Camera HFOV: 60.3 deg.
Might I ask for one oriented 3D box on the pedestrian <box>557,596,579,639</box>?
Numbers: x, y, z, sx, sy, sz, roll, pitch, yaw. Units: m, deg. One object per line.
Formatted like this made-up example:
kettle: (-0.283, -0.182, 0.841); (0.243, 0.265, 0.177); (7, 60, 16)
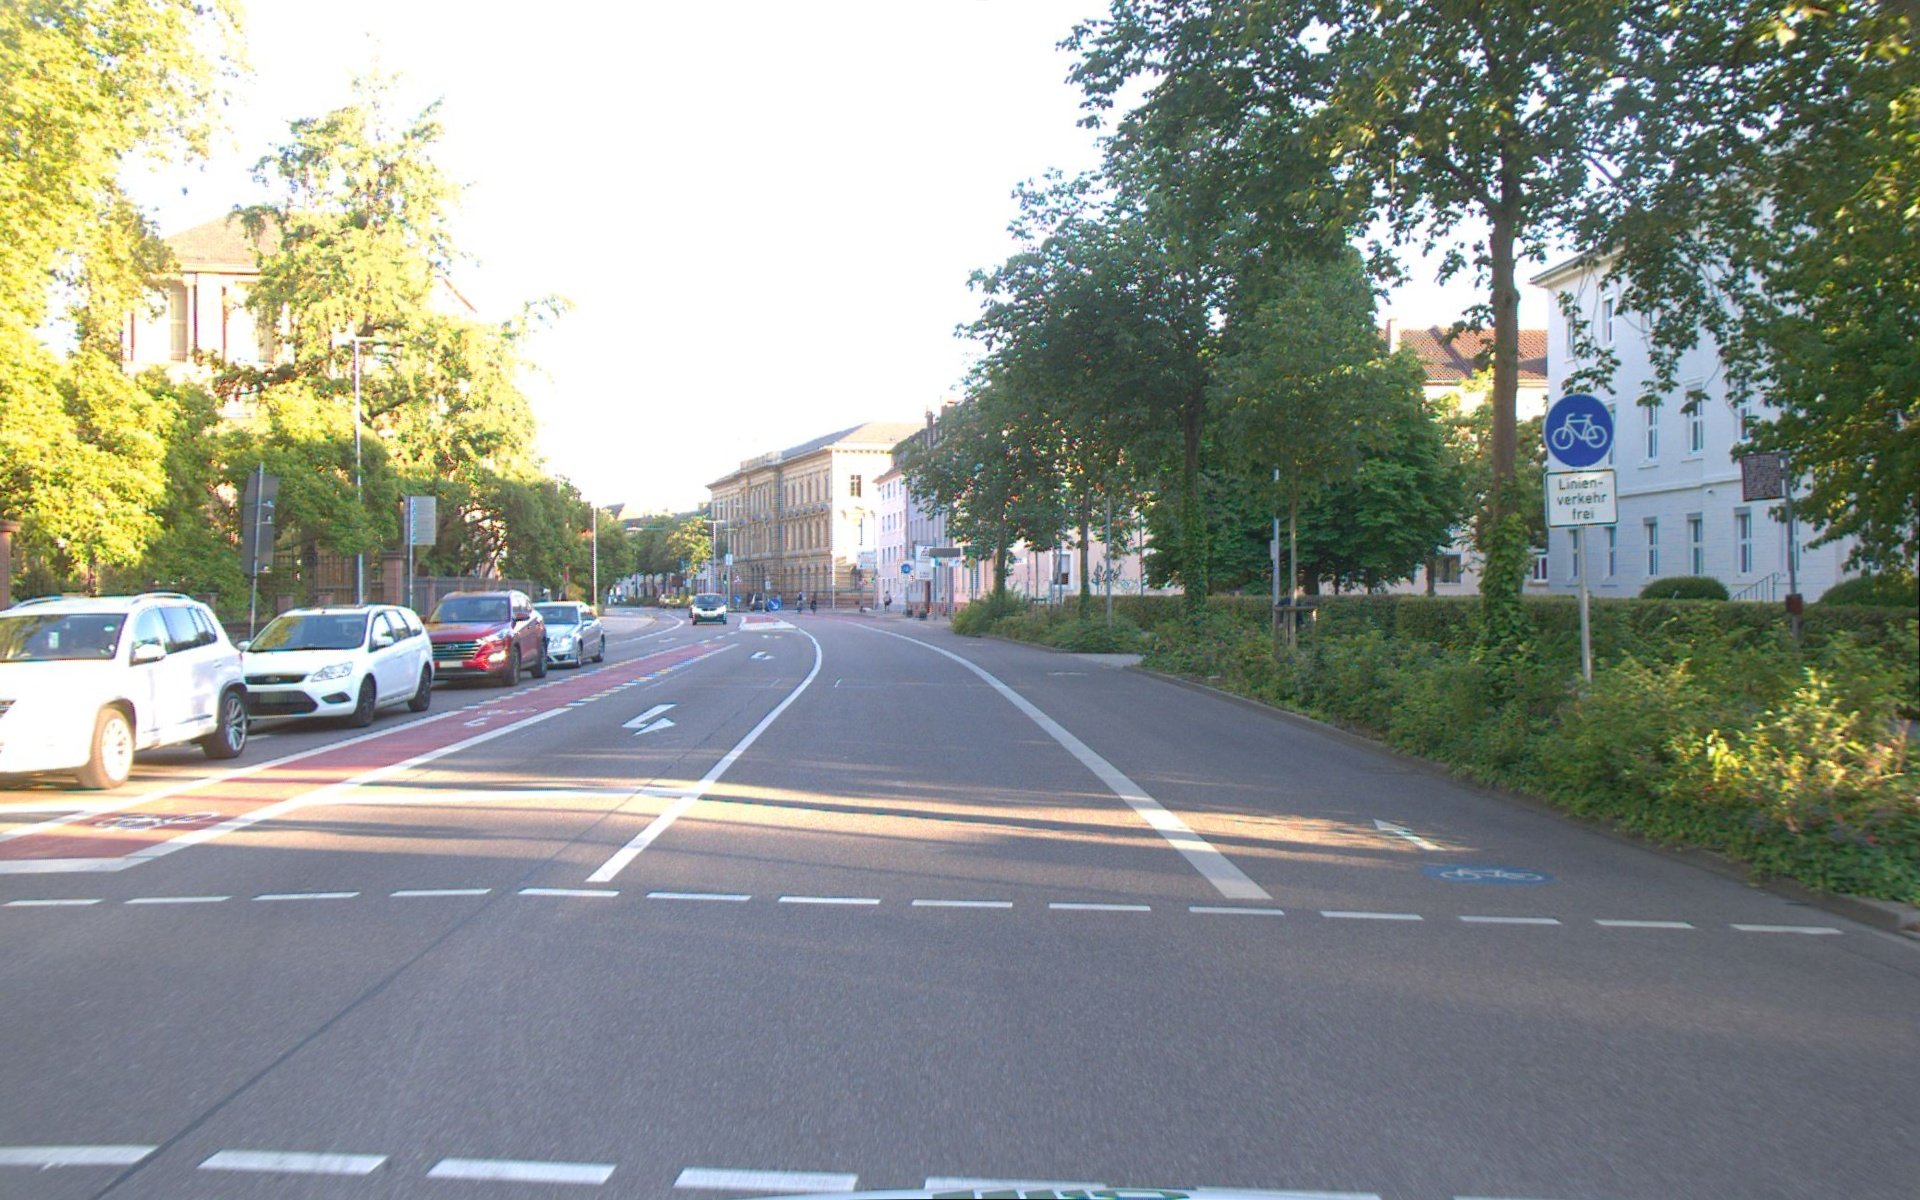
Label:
pedestrian: (-15.503, 0.687, 65.398); (0.666, 1.650, 0.689); (0, 0, 2)

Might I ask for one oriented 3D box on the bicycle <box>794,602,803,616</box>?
bicycle: (-12.930, 0.722, 132.500); (0.639, 1.033, 2.196); (2, 0, -3)

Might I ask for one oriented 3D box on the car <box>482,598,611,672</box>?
car: (-9.105, 0.728, 36.807); (1.878, 1.442, 4.767); (-2, 0, -3)

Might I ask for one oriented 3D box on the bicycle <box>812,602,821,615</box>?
bicycle: (-11.486, 0.690, 132.501); (0.639, 1.033, 2.196); (2, 0, -4)

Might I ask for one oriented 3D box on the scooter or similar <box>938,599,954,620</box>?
scooter or similar: (-0.934, 0.637, 110.226); (0.618, 1.360, 2.392); (0, 0, -13)

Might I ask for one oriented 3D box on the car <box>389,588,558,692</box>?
car: (-8.707, 0.658, 30.010); (1.878, 1.653, 4.636); (-2, 0, -3)

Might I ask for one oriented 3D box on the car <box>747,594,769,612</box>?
car: (-17.739, 0.268, 145.211); (1.831, 1.536, 3.995); (1, 0, -5)

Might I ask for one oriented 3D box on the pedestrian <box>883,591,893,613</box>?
pedestrian: (-5.959, 0.162, 136.785); (0.746, 1.785, 0.844); (0, 0, -2)

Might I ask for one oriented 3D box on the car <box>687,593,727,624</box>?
car: (-13.195, 0.418, 86.190); (1.816, 1.553, 3.988); (-2, 0, -12)

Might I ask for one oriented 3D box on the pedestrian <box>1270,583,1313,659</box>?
pedestrian: (7.762, 0.486, 38.772); (0.755, 1.769, 0.806); (0, 0, -9)

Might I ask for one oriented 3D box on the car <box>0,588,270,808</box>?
car: (-8.174, 0.793, 15.320); (1.878, 1.725, 4.423); (-2, 0, -3)

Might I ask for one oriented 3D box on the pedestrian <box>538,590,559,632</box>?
pedestrian: (-16.340, 0.418, 65.643); (0.667, 1.650, 0.688); (0, 0, 0)

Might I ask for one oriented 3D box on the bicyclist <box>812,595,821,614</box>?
bicyclist: (-11.478, 0.369, 132.504); (0.639, 1.501, 0.940); (2, 0, -4)

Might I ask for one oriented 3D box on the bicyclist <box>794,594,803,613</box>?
bicyclist: (-12.907, 0.269, 132.471); (0.639, 1.471, 0.879); (2, 0, -4)

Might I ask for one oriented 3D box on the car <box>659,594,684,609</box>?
car: (-30.731, 0.182, 176.029); (1.964, 1.613, 3.977); (0, 0, -20)

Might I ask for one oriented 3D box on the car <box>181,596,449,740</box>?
car: (-8.274, 0.788, 21.721); (1.878, 1.611, 4.671); (-2, 0, -3)

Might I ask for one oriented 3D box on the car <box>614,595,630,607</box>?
car: (-47.234, 0.184, 231.432); (1.956, 1.613, 3.992); (0, 0, -9)
